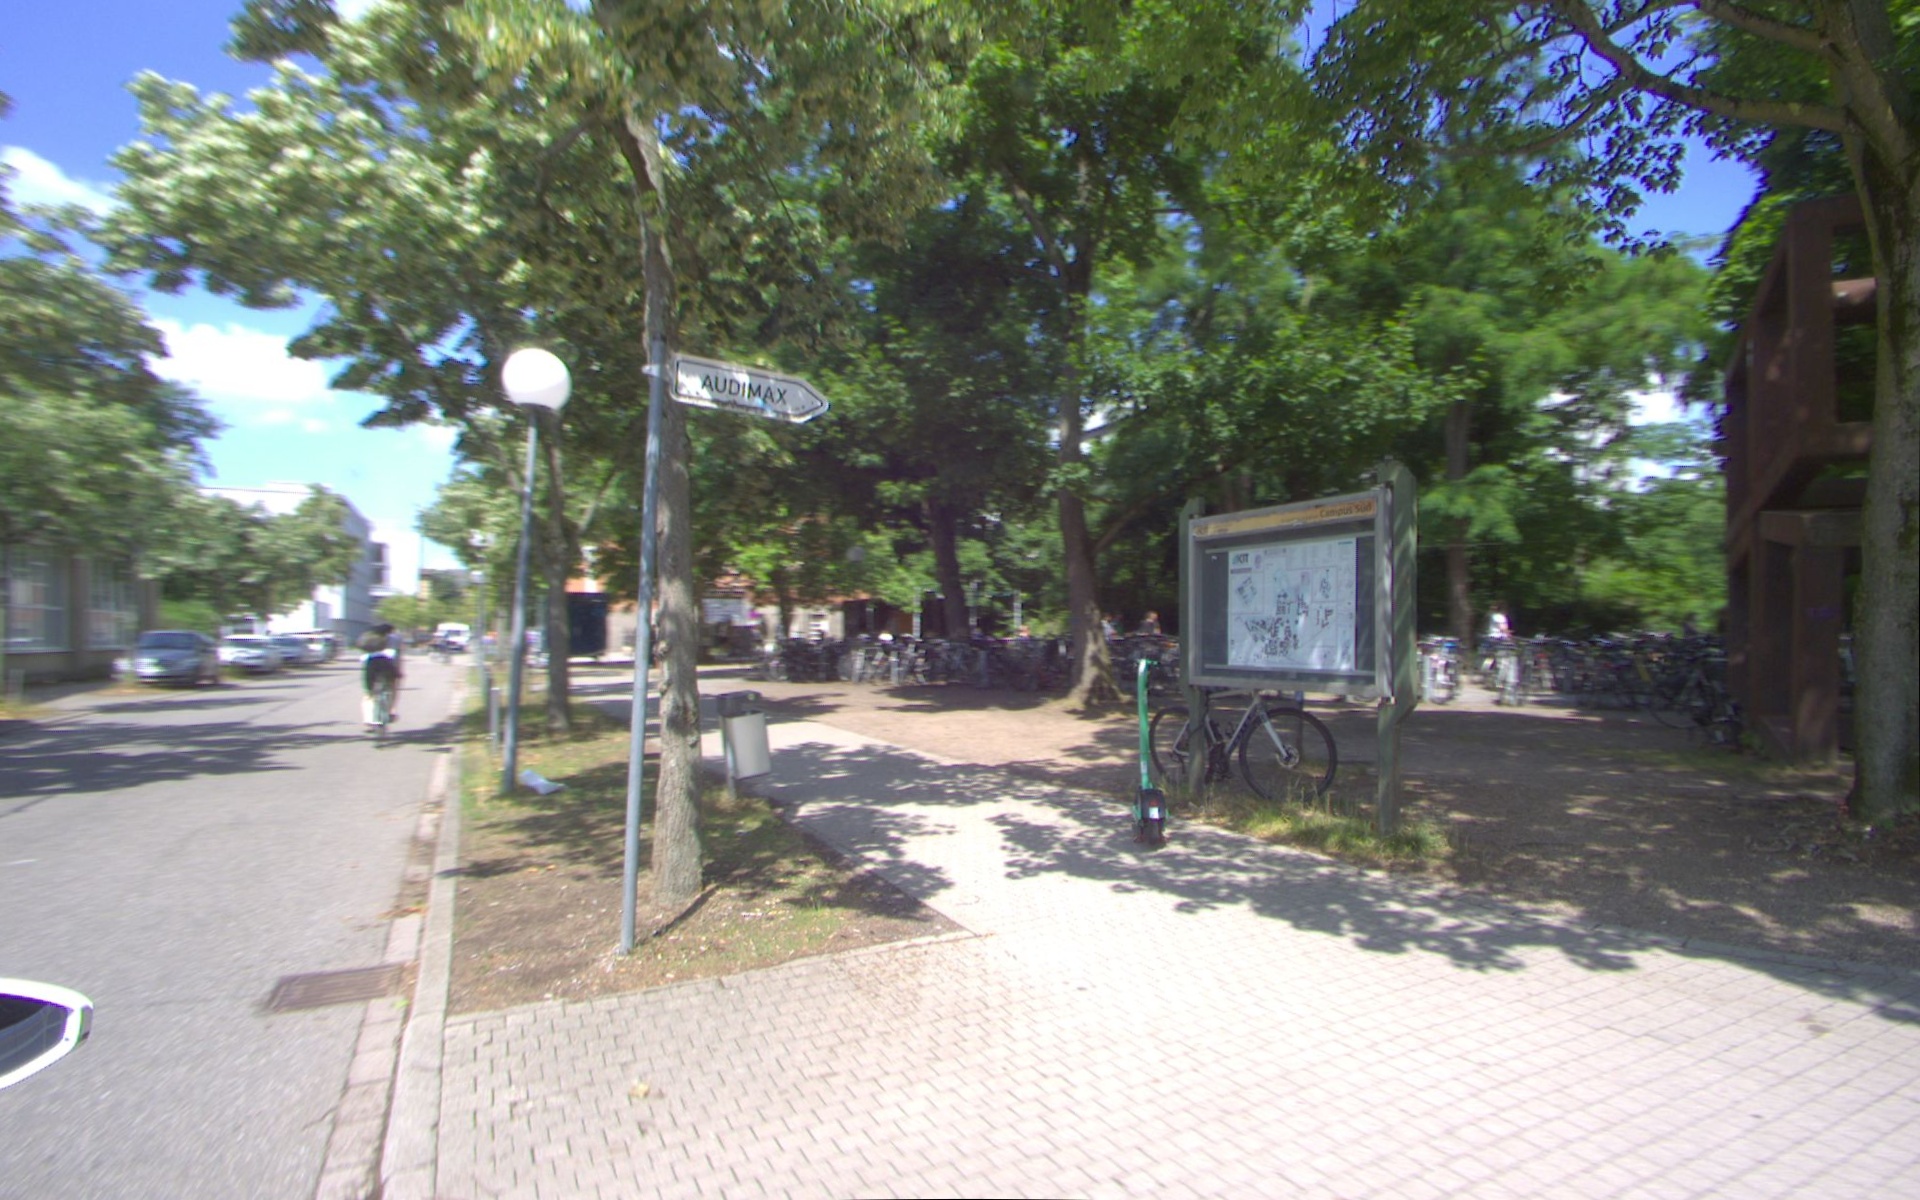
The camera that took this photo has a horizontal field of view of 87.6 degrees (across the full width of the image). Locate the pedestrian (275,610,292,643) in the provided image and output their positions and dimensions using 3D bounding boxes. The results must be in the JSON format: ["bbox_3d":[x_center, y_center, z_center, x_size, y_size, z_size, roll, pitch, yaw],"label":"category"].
[{"bbox_3d":[-42.740,1.674,63.230,0.817,2.005,0.615,-3,-2,33],"label":"pedestrian"}]

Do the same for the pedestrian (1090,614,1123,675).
[{"bbox_3d":[4.460,1.345,30.495,0.735,1.798,0.716,0,-1,-34],"label":"pedestrian"}]

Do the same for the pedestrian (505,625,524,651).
[{"bbox_3d":[-30.541,2.593,68.707,0.945,1.716,0.703,5,-1,-16],"label":"pedestrian"}]

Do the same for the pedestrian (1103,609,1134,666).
[{"bbox_3d":[5.076,1.182,32.070,0.712,1.798,0.739,0,-1,38],"label":"pedestrian"}]

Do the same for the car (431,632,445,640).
[{"bbox_3d":[-91.795,6.334,176.033,1.772,1.549,3.990,0,-2,-22],"label":"car"}]

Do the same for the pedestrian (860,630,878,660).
[{"bbox_3d":[-4.243,2.092,46.722,0.563,1.364,0.725,-2,1,-31],"label":"pedestrian"}]

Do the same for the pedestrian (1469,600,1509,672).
[{"bbox_3d":[13.480,0.912,25.532,0.707,1.798,0.744,0,-1,12],"label":"pedestrian"}]

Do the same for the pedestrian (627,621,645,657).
[{"bbox_3d":[-15.205,1.842,46.973,0.689,1.682,0.785,0,-1,-26],"label":"pedestrian"}]

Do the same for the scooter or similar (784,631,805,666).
[{"bbox_3d":[-6.099,1.790,36.911,0.419,1.234,1.290,0,-2,-25],"label":"scooter or similar"}]

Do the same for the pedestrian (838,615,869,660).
[{"bbox_3d":[-4.384,1.537,41.093,0.949,1.798,0.913,1,-1,-34],"label":"pedestrian"}]

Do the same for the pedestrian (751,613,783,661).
[{"bbox_3d":[-8.191,1.566,42.564,1.067,1.974,0.827,-2,0,44],"label":"pedestrian"}]

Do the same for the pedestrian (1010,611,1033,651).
[{"bbox_3d":[2.571,1.287,41.905,0.659,1.603,0.715,-2,1,-31],"label":"pedestrian"}]

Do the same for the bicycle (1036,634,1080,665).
[{"bbox_3d":[3.535,1.786,36.088,0.474,1.053,1.942,-2,-2,44],"label":"bicycle"}]

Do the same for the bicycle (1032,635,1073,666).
[{"bbox_3d":[3.273,1.759,35.264,0.430,1.053,1.769,-2,-2,42],"label":"bicycle"}]

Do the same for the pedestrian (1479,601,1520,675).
[{"bbox_3d":[13.295,0.928,24.682,0.707,1.798,0.744,0,-1,12],"label":"pedestrian"}]

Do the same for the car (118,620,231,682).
[{"bbox_3d":[-22.072,1.444,28.301,1.737,1.575,4.096,3,-4,-28],"label":"car"}]

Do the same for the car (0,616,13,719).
[{"bbox_3d":[-15.407,0.974,14.114,1.802,1.652,4.497,3,-4,-28],"label":"car"}]

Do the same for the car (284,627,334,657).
[{"bbox_3d":[-33.382,2.165,51.435,1.642,1.429,3.792,2,-3,-26],"label":"car"}]

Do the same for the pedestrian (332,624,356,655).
[{"bbox_3d":[-36.879,2.347,59.921,0.974,1.738,0.705,-2,-7,-4],"label":"pedestrian"}]

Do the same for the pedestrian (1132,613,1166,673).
[{"bbox_3d":[5.735,1.293,30.427,0.735,1.798,0.716,0,-1,-34],"label":"pedestrian"}]

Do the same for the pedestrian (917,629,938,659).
[{"bbox_3d":[-1.473,2.010,45.938,0.659,1.364,0.715,-2,1,-31],"label":"pedestrian"}]

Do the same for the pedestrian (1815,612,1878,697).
[{"bbox_3d":[19.160,1.164,21.655,0.707,1.798,0.745,0,-1,-1],"label":"pedestrian"}]

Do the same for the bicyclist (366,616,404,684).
[{"bbox_3d":[-15.312,1.335,26.704,0.762,1.778,0.844,3,-3,-28],"label":"bicyclist"}]

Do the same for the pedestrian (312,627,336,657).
[{"bbox_3d":[-39.087,2.591,61.522,0.965,1.761,0.701,2,-1,9],"label":"pedestrian"}]

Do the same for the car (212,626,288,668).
[{"bbox_3d":[-27.091,1.806,38.324,1.706,1.474,4.564,3,-4,-28],"label":"car"}]

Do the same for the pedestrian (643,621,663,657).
[{"bbox_3d":[-14.515,1.839,47.328,0.756,1.682,0.821,0,-1,-26],"label":"pedestrian"}]

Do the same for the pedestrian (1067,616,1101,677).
[{"bbox_3d":[3.713,1.377,29.975,0.735,1.798,0.716,0,-1,-34],"label":"pedestrian"}]

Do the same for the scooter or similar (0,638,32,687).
[{"bbox_3d":[-23.880,1.560,25.120,0.499,1.183,1.211,2,-3,-26],"label":"scooter or similar"}]

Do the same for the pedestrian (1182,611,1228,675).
[{"bbox_3d":[7.081,1.236,28.920,0.961,1.798,0.955,-1,-1,42],"label":"pedestrian"}]

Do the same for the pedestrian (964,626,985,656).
[{"bbox_3d":[0.660,1.821,44.229,0.659,1.288,0.619,-2,1,-31],"label":"pedestrian"}]

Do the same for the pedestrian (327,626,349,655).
[{"bbox_3d":[-38.675,2.533,62.256,0.891,1.761,0.678,-2,-2,12],"label":"pedestrian"}]

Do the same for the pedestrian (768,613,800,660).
[{"bbox_3d":[-7.591,1.564,43.217,1.067,1.974,0.827,-2,0,44],"label":"pedestrian"}]

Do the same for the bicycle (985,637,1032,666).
[{"bbox_3d":[1.831,1.906,37.233,0.606,0.991,1.942,-2,-2,44],"label":"bicycle"}]

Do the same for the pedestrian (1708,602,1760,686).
[{"bbox_3d":[16.971,0.960,21.967,0.800,1.798,0.850,0,-1,31],"label":"pedestrian"}]

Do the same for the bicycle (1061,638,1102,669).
[{"bbox_3d":[4.266,1.867,35.172,0.473,1.053,1.769,-2,-2,42],"label":"bicycle"}]

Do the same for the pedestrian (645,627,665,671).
[{"bbox_3d":[-11.413,1.841,37.462,0.561,1.591,0.924,-1,-2,-26],"label":"pedestrian"}]

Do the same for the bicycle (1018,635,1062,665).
[{"bbox_3d":[2.930,1.804,36.498,0.430,1.053,1.942,-2,-2,44],"label":"bicycle"}]

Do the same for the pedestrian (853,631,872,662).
[{"bbox_3d":[-4.432,2.105,45.617,0.563,1.364,0.725,-2,1,-31],"label":"pedestrian"}]

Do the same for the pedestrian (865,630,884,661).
[{"bbox_3d":[-3.938,2.070,45.903,0.563,1.364,0.725,-2,1,-31],"label":"pedestrian"}]

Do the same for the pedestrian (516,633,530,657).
[{"bbox_3d":[-31.107,3.223,71.290,0.563,1.654,0.500,-2,6,30],"label":"pedestrian"}]

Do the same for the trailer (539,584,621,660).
[{"bbox_3d":[-16.778,0.990,44.002,2.659,3.090,6.232,0,-2,-27],"label":"trailer"}]

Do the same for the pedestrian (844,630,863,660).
[{"bbox_3d":[-4.937,2.078,46.313,0.563,1.364,0.725,-2,1,-31],"label":"pedestrian"}]

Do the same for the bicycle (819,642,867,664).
[{"bbox_3d":[-6.025,2.732,51.653,2.361,1.085,0.782,2,-3,-14],"label":"bicycle"}]

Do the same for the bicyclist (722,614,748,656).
[{"bbox_3d":[-9.413,1.465,41.851,1.067,1.752,0.526,-2,0,44],"label":"bicyclist"}]

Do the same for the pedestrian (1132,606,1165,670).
[{"bbox_3d":[5.400,1.083,28.615,0.711,1.798,0.741,0,-1,33],"label":"pedestrian"}]

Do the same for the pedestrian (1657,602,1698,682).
[{"bbox_3d":[16.516,0.962,23.068,0.710,1.798,0.741,0,-1,32],"label":"pedestrian"}]

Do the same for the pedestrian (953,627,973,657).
[{"bbox_3d":[0.132,1.868,44.915,0.659,1.288,0.619,-2,1,-31],"label":"pedestrian"}]

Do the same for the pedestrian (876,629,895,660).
[{"bbox_3d":[-3.451,2.056,46.190,0.563,1.364,0.725,-2,1,-31],"label":"pedestrian"}]

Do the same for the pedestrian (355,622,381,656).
[{"bbox_3d":[-35.393,2.325,59.909,1.097,1.886,0.851,5,4,23],"label":"pedestrian"}]

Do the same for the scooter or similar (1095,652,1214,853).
[{"bbox_3d":[1.243,0.938,6.604,0.488,1.129,1.362,0,0,-2],"label":"scooter or similar"}]

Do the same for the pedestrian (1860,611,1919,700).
[{"bbox_3d":[19.160,1.122,20.544,0.707,1.798,0.745,0,-1,-3],"label":"pedestrian"}]

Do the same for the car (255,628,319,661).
[{"bbox_3d":[-30.721,2.028,45.811,1.704,1.360,4.152,3,-3,-24],"label":"car"}]

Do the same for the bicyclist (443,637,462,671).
[{"bbox_3d":[-26.568,2.834,52.436,0.798,1.778,0.690,2,-3,-26],"label":"bicyclist"}]

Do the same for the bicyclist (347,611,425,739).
[{"bbox_3d":[-7.891,1.026,13.815,0.708,1.682,1.092,3,-3,-22],"label":"bicyclist"}]

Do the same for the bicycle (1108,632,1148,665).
[{"bbox_3d":[5.657,1.623,33.649,0.473,1.053,1.738,-2,-2,42],"label":"bicycle"}]

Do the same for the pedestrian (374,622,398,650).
[{"bbox_3d":[-33.499,2.080,58.438,0.816,1.616,0.848,-1,-1,21],"label":"pedestrian"}]
